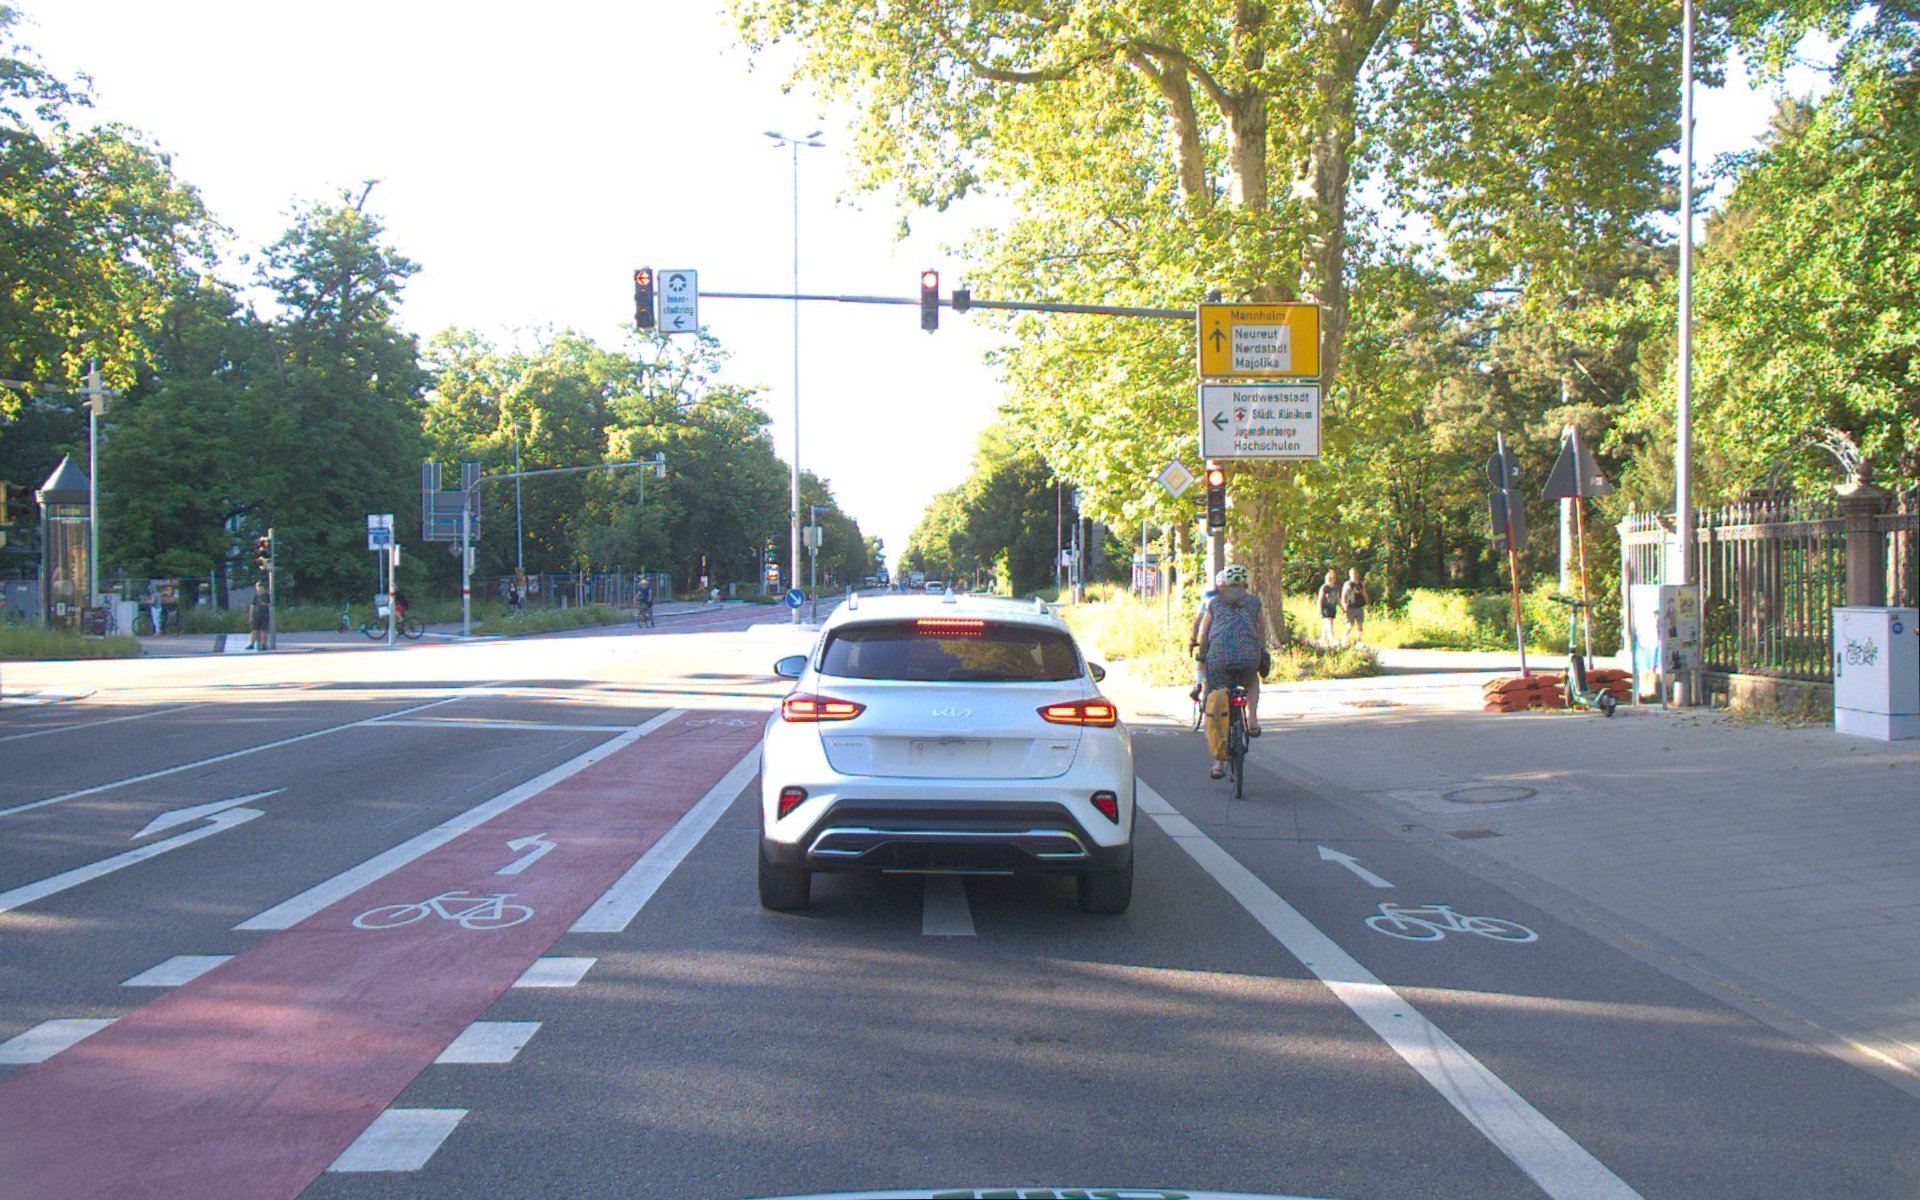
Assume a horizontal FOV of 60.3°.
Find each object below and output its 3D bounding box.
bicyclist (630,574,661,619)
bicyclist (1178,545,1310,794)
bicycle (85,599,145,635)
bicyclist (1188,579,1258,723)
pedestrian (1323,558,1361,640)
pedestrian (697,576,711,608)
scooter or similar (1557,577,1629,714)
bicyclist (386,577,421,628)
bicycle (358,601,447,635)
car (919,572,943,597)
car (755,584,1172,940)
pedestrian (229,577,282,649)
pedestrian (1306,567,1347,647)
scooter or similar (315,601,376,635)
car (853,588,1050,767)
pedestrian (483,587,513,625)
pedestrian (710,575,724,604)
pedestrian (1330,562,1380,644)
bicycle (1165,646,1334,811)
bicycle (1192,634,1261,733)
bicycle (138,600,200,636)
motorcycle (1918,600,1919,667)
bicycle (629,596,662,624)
[{"bbox_3d":[-11.740,-0.144,61.758,0.857,1.636,1.188,-1,0,1],"label":"bicyclist"},{"bbox_3d":[2.179,0.506,12.819,0.738,1.827,1.164,1,0,-2],"label":"bicyclist"},{"bbox_3d":[-28.119,0.570,55.063,1.822,1.168,0.443,1,0,6],"label":"bicycle"},{"bbox_3d":[2.855,0.546,18.004,0.543,1.504,0.716,-3,0,-2],"label":"bicyclist"},{"bbox_3d":[8.447,-0.029,36.613,0.604,1.802,0.646,-1,0,-8],"label":"pedestrian"},{"bbox_3d":[-16.376,-0.504,105.805,0.627,2.049,0.754,0,0,9],"label":"pedestrian"},{"bbox_3d":[6.515,0.446,17.055,0.223,1.350,1.171,-1,1,-2],"label":"scooter or similar"},{"bbox_3d":[-18.165,0.085,53.970,0.962,1.634,0.871,-1,1,-24],"label":"bicyclist"},{"bbox_3d":[-18.179,0.584,53.960,2.671,1.006,0.577,-2,1,-25],"label":"bicycle"},{"bbox_3d":[-2.487,-1.294,140.933,1.953,2.049,4.000,-1,1,-1],"label":"car"},{"bbox_3d":[-0.052,0.672,9.044,1.784,1.506,3.935,0,1,-2],"label":"car"},{"bbox_3d":[-20.475,0.377,48.099,0.974,2.049,1.191,0,0,4],"label":"pedestrian"},{"bbox_3d":[8.064,0.153,36.380,0.676,1.729,0.643,-1,0,-7],"label":"pedestrian"},{"bbox_3d":[-21.041,0.601,56.651,0.697,1.144,1.916,0,0,32],"label":"scooter or similar"},{"bbox_3d":[-0.143,0.660,16.145,1.694,1.509,3.515,-1,1,-2],"label":"car"},{"bbox_3d":[-20.002,0.255,71.667,1.067,1.631,1.000,-1,0,-7],"label":"pedestrian"},{"bbox_3d":[-15.602,-0.658,106.301,0.769,1.817,0.751,1,0,0],"label":"pedestrian"},{"bbox_3d":[8.862,0.062,37.125,0.802,1.802,0.831,-1,0,-8],"label":"pedestrian"},{"bbox_3d":[2.171,0.928,12.772,0.742,1.031,2.568,1,1,-2],"label":"bicycle"},{"bbox_3d":[2.878,0.884,17.948,0.393,0.973,1.550,-3,0,-2],"label":"bicycle"},{"bbox_3d":[-26.210,0.588,54.816,1.826,1.168,0.290,1,0,-8],"label":"bicycle"},{"bbox_3d":[7.002,0.565,10.491,0.495,1.151,2.170,-2,0,-2],"label":"motorcycle"},{"bbox_3d":[-11.728,0.367,61.727,0.650,1.006,2.505,-1,1,1],"label":"bicycle"}]
